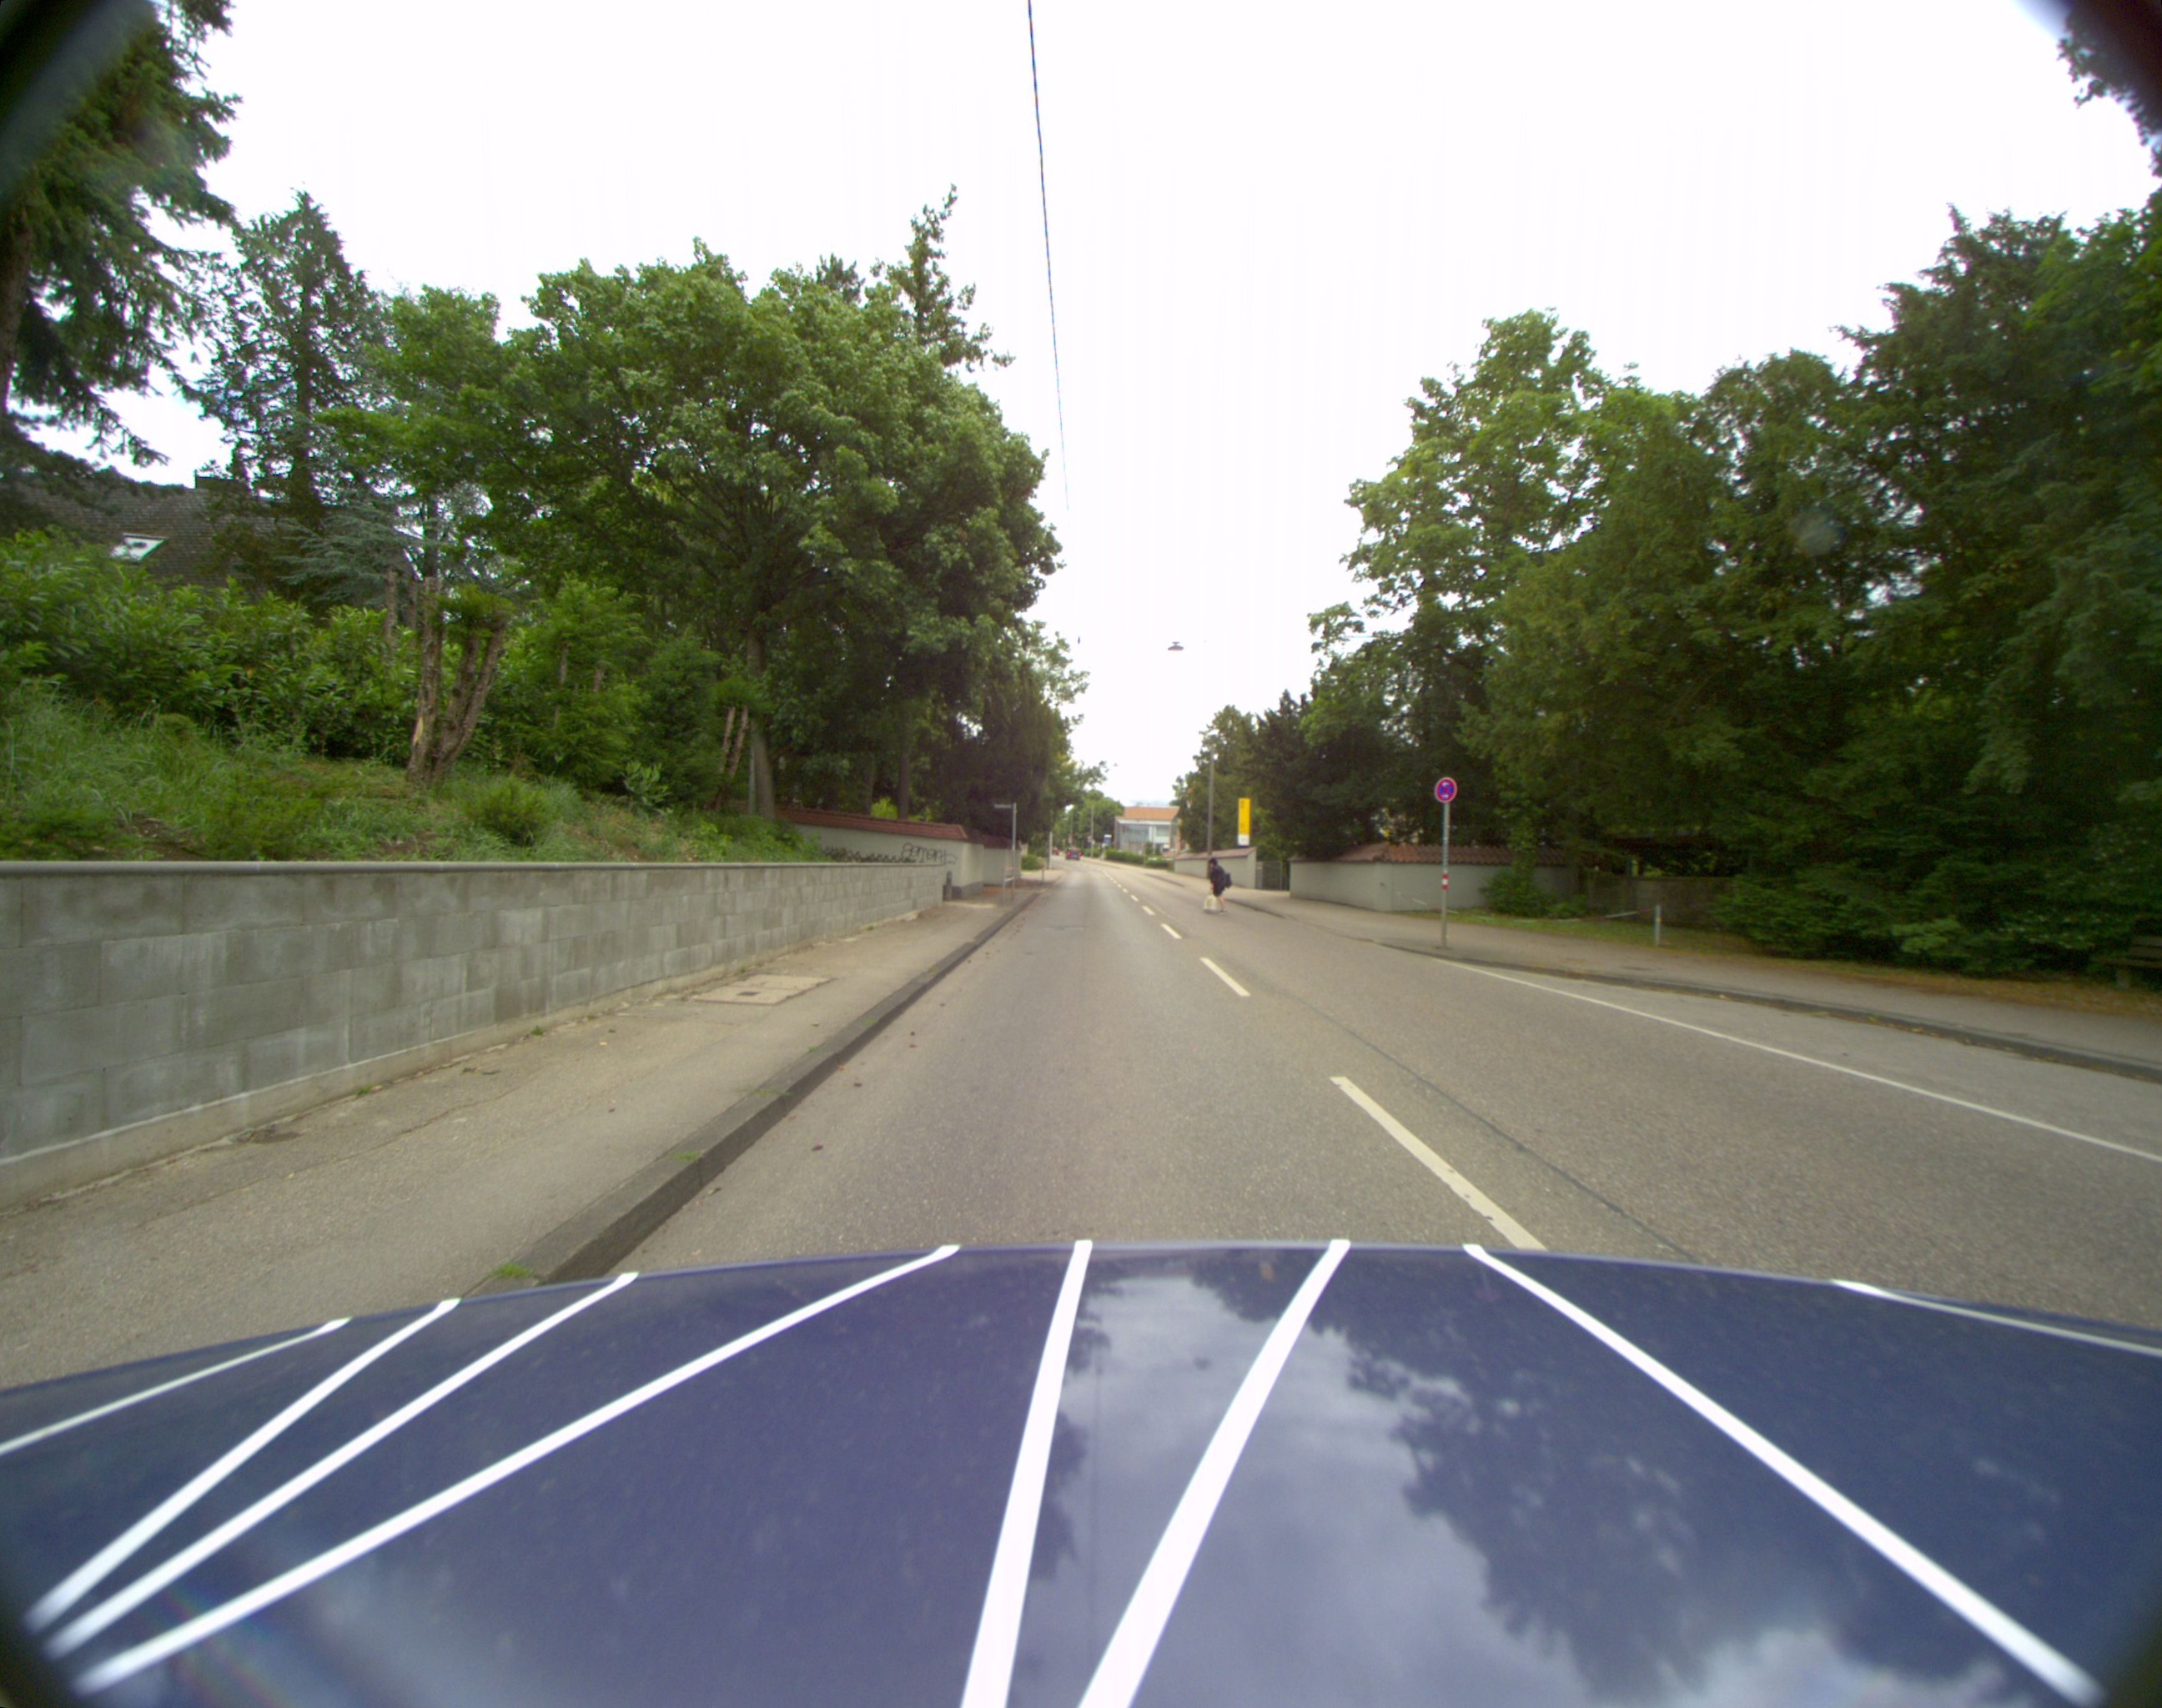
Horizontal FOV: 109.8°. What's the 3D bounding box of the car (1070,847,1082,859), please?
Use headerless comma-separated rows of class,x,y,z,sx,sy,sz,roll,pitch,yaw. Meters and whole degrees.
car,-0.762,-0.118,120.485,1.895,1.845,5.082,-1,0,0

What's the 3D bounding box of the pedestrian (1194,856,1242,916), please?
pedestrian,3.777,0.865,20.918,0.899,1.551,0.930,4,2,36

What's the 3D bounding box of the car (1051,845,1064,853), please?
car,-4.693,-0.972,152.744,1.792,1.420,3.995,2,0,-13
